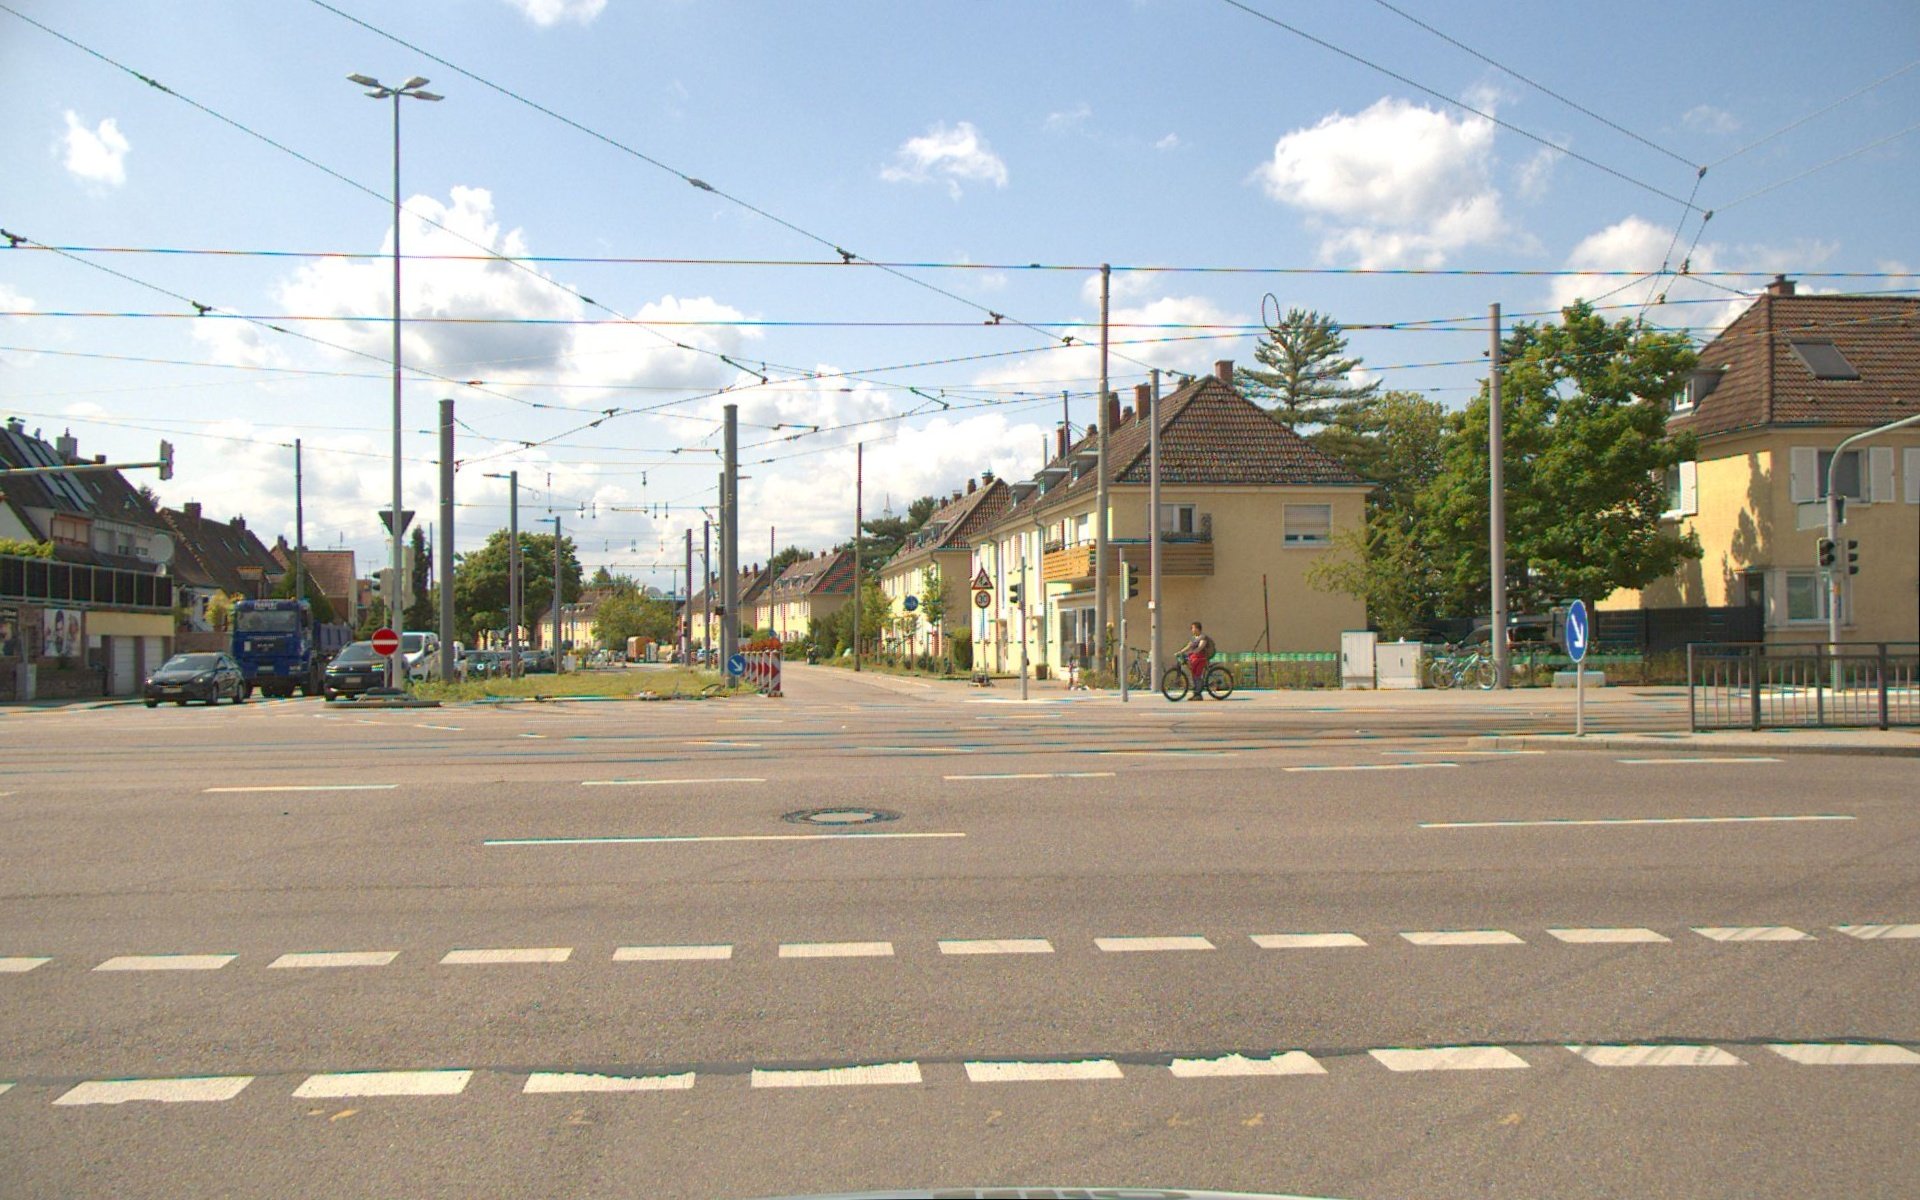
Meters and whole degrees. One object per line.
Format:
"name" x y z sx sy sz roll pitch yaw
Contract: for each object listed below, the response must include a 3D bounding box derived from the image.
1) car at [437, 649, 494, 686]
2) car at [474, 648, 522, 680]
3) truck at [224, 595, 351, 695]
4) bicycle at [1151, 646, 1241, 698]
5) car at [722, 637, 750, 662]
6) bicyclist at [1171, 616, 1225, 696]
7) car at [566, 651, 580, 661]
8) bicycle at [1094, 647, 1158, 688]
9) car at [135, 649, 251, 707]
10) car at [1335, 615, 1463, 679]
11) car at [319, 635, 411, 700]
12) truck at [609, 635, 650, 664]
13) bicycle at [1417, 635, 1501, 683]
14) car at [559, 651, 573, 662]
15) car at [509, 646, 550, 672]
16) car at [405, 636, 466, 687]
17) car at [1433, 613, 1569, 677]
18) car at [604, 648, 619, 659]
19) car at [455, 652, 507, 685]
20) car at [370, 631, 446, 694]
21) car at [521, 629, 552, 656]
"car" -20.707 2.802 69.401 1.881 1.444 3.989 -1 -2 -11
"car" -23.241 3.195 83.334 1.810 1.520 4.844 -1 -2 -10
"truck" -23.588 1.589 58.357 2.719 3.244 7.560 -1 -2 -11
"bicycle" 5.403 1.637 37.856 2.004 1.121 0.708 0 -2 -28
"car" -19.817 4.371 146.224 2.030 2.187 4.862 -1 -2 -13
"bicyclist" 5.446 1.281 37.879 0.947 1.806 0.712 0 -2 -29
"car" -55.143 7.996 235.713 1.243 1.451 2.640 0 -2 -28
"bicycle" 4.607 1.870 46.015 0.586 1.116 2.255 0 -2 -28
"car" -21.655 2.177 46.843 1.794 1.513 4.325 -1 -2 -8
"car" 12.199 1.341 46.199 1.790 1.649 3.986 -1 -3 -13
"car" -17.405 1.946 48.583 1.754 1.751 4.430 -1 -1 -10
"truck" -41.052 6.168 205.182 2.608 3.555 9.356 0 -2 -26
"bicycle" 11.937 1.420 39.564 1.772 1.124 0.700 -2 -2 36
"car" -57.128 8.178 239.890 1.244 1.451 2.638 0 -2 -30
"car" -28.320 3.892 108.965 1.783 1.579 3.998 -1 -1 -2
"car" -19.854 2.326 62.734 1.702 1.813 4.392 -1 -2 -11
"car" 14.973 1.295 46.001 1.790 1.649 3.986 -1 -3 -13
"car" -45.722 7.060 216.993 1.242 1.451 2.642 0 -2 -27
"car" -22.069 3.140 76.325 1.810 1.438 4.902 -1 -2 -11
"car" -18.295 2.051 54.952 1.782 1.955 4.734 -1 -2 -11
"car" -39.830 3.968 155.449 2.371 2.412 4.849 -1 -1 -20
